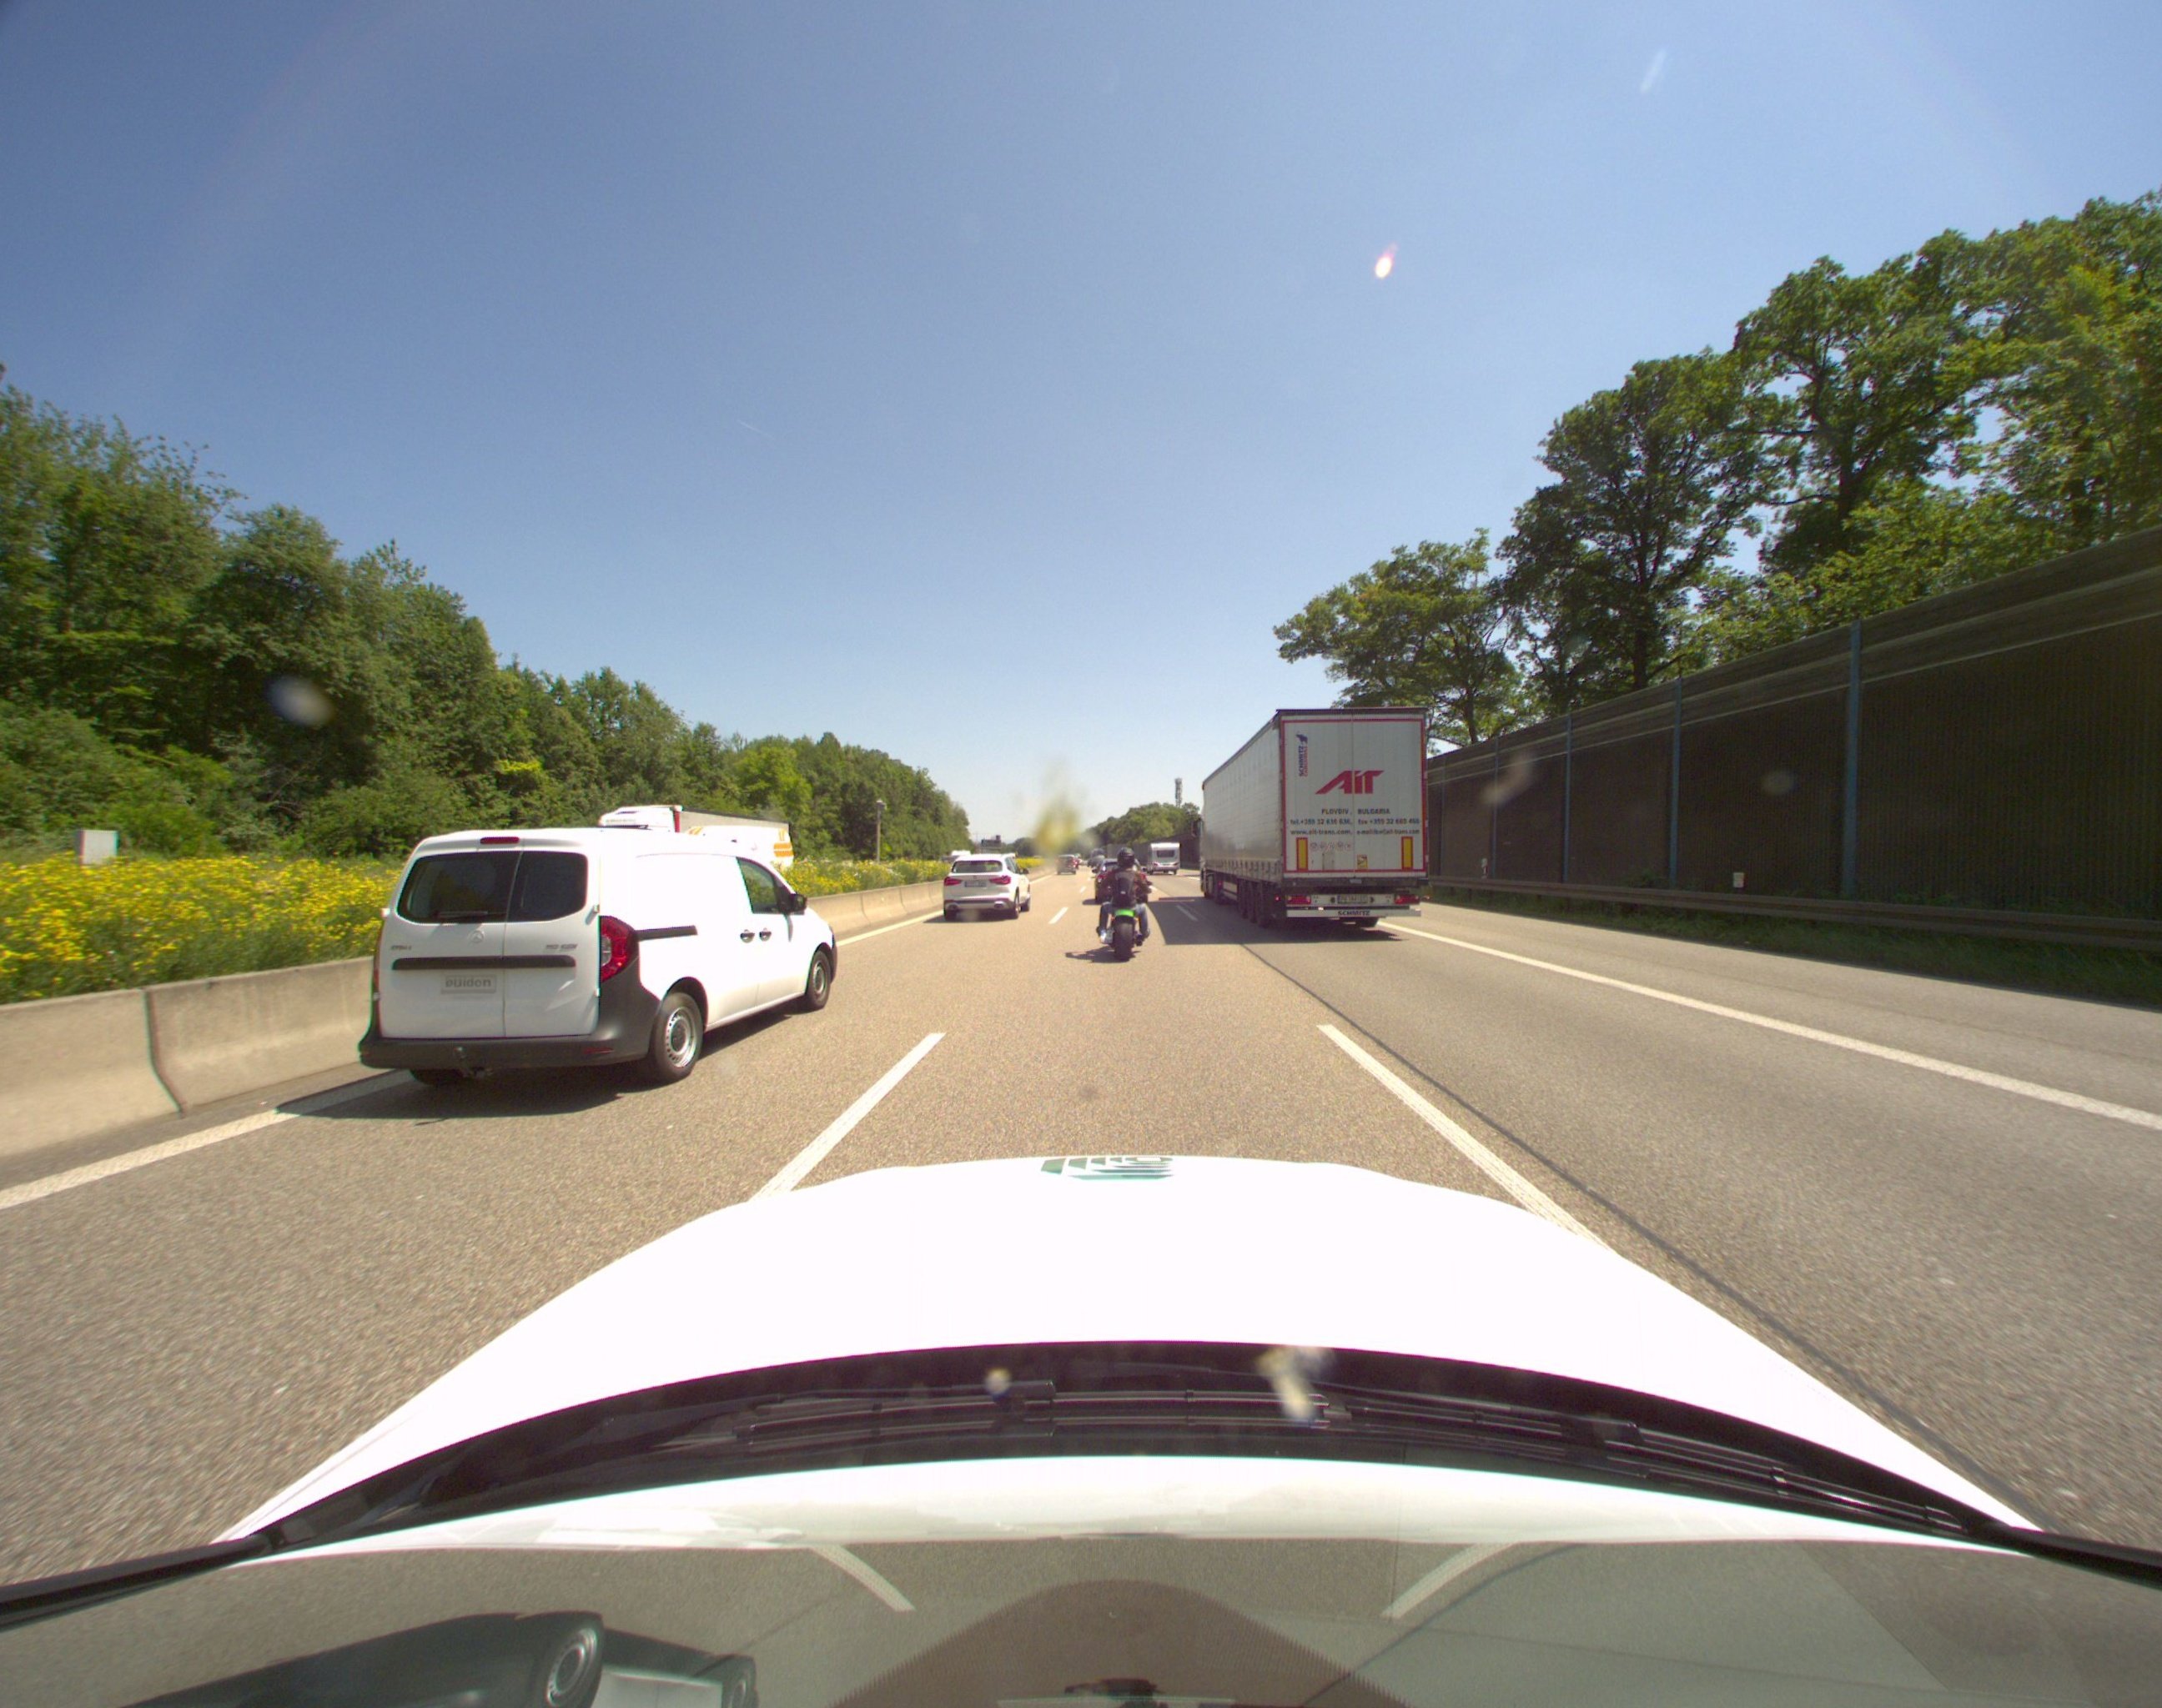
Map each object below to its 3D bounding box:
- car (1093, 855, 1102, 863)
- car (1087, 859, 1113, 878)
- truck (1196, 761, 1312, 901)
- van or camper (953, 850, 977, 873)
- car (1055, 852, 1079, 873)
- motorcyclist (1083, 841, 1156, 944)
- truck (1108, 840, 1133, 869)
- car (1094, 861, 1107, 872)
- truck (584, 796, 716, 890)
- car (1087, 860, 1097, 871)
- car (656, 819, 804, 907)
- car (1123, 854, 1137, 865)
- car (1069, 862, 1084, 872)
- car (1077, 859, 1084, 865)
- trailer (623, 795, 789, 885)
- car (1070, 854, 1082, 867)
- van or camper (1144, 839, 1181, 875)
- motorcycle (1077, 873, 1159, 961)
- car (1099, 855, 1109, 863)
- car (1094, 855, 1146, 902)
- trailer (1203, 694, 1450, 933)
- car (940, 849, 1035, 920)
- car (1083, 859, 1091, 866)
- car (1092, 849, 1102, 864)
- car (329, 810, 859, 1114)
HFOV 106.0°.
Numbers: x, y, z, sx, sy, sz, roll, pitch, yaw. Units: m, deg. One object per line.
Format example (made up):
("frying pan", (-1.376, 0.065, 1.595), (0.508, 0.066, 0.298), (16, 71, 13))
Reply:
("car", (4.092, 1.212, 200.166), (2.101, 1.876, 3.999), (-1, -1, 0))
("car", (1.495, 1.142, 63.008), (1.986, 1.430, 3.849), (-1, -1, 2))
("truck", (5.612, -0.668, 27.445), (2.873, 4.146, 5.991), (-1, 0, 3))
("van or camper", (-14.756, 0.939, 104.066), (2.077, 2.701, 6.154), (-1, 0, 1))
("car", (-1.272, 0.826, 76.494), (1.891, 1.874, 4.415), (-1, -1, 3))
("motorcyclist", (0.639, 0.580, 12.670), (0.894, 1.475, 1.877), (-1, -2, 9))
("truck", (6.880, 0.176, 144.415), (3.792, 4.960, 8.945), (-1, -1, -1))
("car", (3.181, 2.027, 132.054), (1.987, 1.640, 3.998), (-1, -1, 0))
("truck", (-20.392, -0.421, 39.027), (2.953, 4.107, 6.089), (-1, -1, 1))
("car", (2.185, 2.315, 162.356), (1.906, 2.014, 3.688), (-1, -1, -2))
("car", (-12.920, 0.322, 30.793), (2.060, 2.896, 7.466), (-1, 0, 2))
("car", (7.572, 0.918, 125.246), (1.986, 1.574, 4.000), (-1, -1, 1))
("car", (-0.566, 1.819, 111.457), (1.987, 1.387, 4.000), (-1, -1, 1))
("car", (-0.109, 2.138, 219.648), (1.828, 1.496, 3.739), (-1, -1, -3))
("trailer", (-20.257, -0.515, 45.429), (2.915, 4.232, 13.067), (-1, -1, 1))
("car", (-0.790, 1.050, 130.746), (1.785, 2.014, 3.643), (-1, -1, 1))
("van or camper", (6.804, 0.330, 68.606), (2.674, 2.813, 6.806), (-1, -1, 2))
("motorcycle", (0.643, 0.907, 12.732), (0.959, 1.148, 2.819), (-1, 0, 9))
("car", (5.417, 1.152, 194.527), (2.101, 1.876, 3.998), (-1, -1, -1))
("car", (1.355, 0.821, 27.863), (1.655, 1.453, 3.872), (-1, -1, 3))
("trailer", (5.213, -0.659, 20.822), (2.873, 4.038, 13.806), (-1, 0, 3))
("car", (-2.416, 0.760, 22.282), (1.857, 1.694, 4.958), (-1, -1, 2))
("car", (1.362, 1.923, 185.792), (1.827, 1.496, 3.741), (-1, -1, -1))
("car", (4.141, 0.757, 213.596), (2.128, 3.862, 8.136), (-1, 0, -2))
("car", (-3.604, 0.672, 7.281), (1.758, 1.813, 4.676), (-1, -1, 2))
